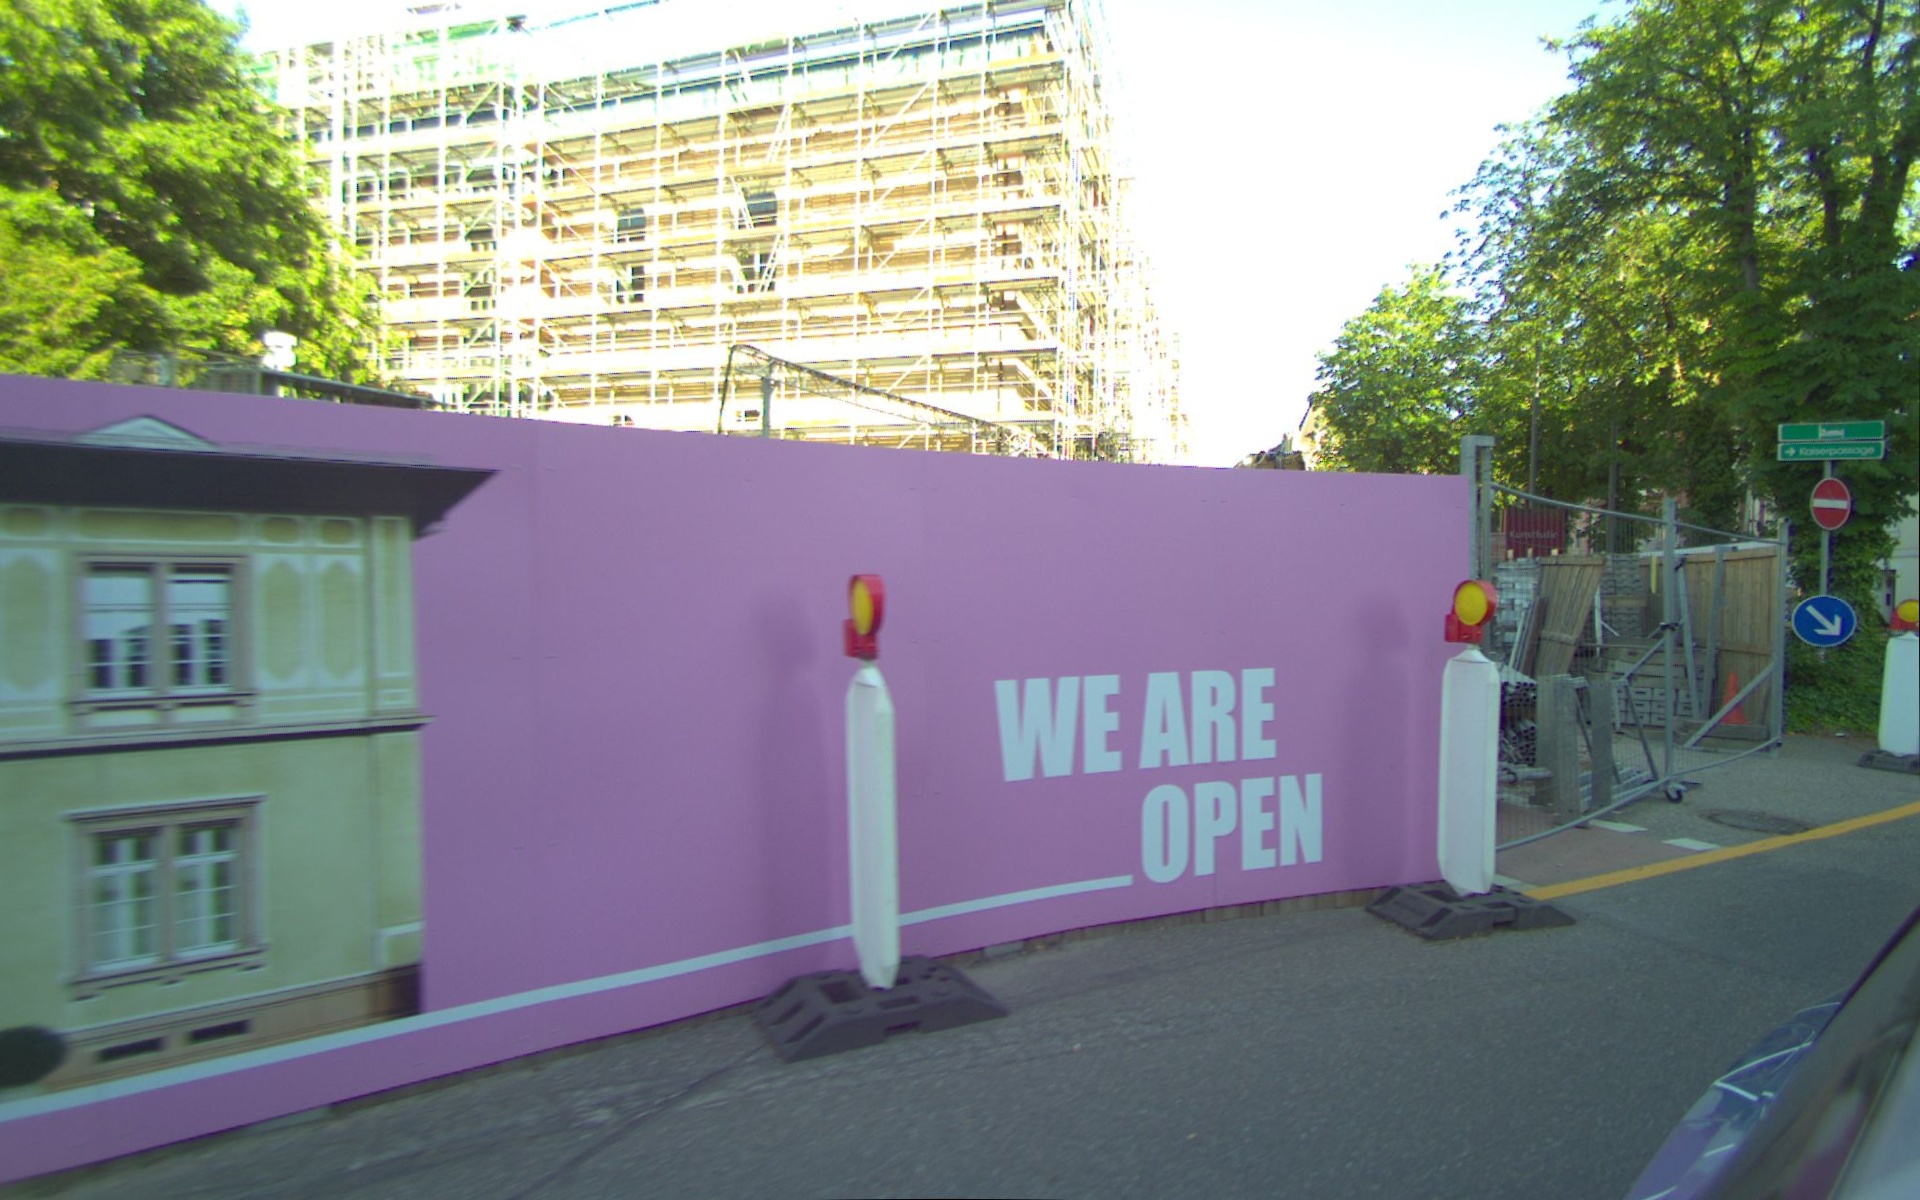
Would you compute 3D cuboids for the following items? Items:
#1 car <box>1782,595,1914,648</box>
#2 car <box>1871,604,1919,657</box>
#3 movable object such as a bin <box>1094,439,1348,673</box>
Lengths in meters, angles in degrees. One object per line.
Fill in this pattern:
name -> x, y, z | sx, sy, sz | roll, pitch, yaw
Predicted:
car -> 30.542, 0.677, 34.982 | 1.795, 1.591, 4.365 | 2, 2, 18
car -> 29.036, 0.912, 29.764 | 1.749, 1.506, 4.171 | 1, 1, 18
movable object such as a bin -> 4.570, -0.722, 17.175 | 3.144, 3.341, 4.342 | 3, 2, 28
